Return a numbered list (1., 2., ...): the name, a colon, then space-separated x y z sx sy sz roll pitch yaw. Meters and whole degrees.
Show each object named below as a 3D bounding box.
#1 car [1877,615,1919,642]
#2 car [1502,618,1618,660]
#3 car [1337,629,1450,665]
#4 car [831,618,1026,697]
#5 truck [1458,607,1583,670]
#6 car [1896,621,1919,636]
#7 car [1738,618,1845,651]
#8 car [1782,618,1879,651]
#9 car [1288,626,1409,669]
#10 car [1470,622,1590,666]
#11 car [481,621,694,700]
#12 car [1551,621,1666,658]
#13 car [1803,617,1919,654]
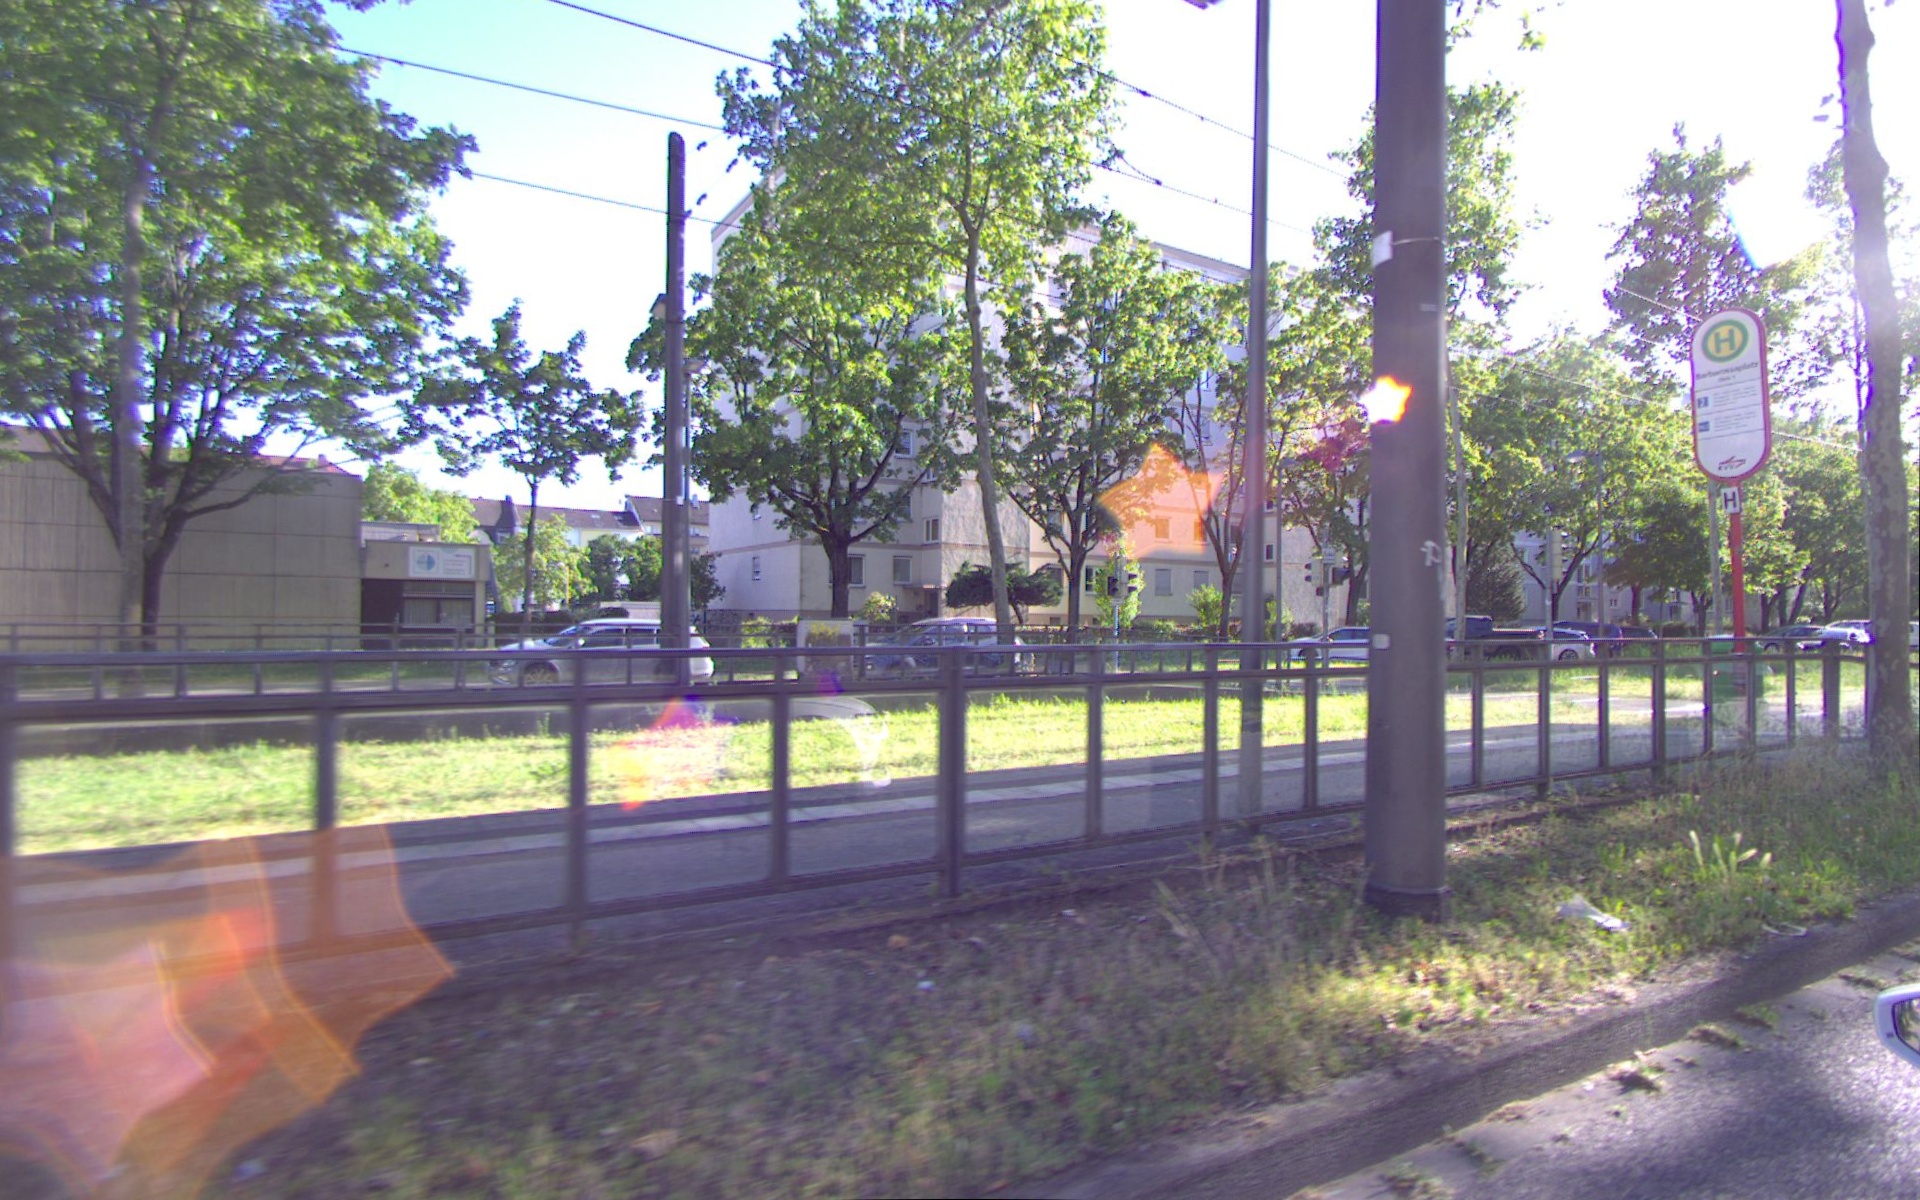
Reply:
1. car: 60.903 1.793 63.558 4.020 1.629 1.987 0 0 37
2. car: 25.817 1.667 43.362 4.002 1.668 1.652 0 1 14
3. car: 16.247 1.738 37.838 3.749 1.263 1.841 0 -1 18
4. car: -0.665 1.183 21.721 3.884 1.566 1.707 1 -1 -29
5. truck: 21.360 1.431 38.480 4.008 1.799 1.649 2 16 25
6. car: 106.166 3.136 110.404 4.397 1.589 1.796 0 -1 17
7. car: 43.971 1.823 53.211 4.004 1.667 1.652 0 -2 18
8. car: 38.848 1.525 44.826 4.116 1.407 1.985 1 -1 -29
9. car: 13.736 1.661 35.716 3.747 1.454 1.842 0 -1 11
10. car: 23.307 1.791 41.225 4.004 1.668 1.651 0 1 18
11. car: -8.049 1.237 21.794 4.149 1.566 1.706 1 -1 -29
12. car: 29.087 1.737 45.176 4.002 1.496 1.651 0 3 13
13. car: 52.805 2.063 58.946 4.705 2.033 1.892 0 1 22
